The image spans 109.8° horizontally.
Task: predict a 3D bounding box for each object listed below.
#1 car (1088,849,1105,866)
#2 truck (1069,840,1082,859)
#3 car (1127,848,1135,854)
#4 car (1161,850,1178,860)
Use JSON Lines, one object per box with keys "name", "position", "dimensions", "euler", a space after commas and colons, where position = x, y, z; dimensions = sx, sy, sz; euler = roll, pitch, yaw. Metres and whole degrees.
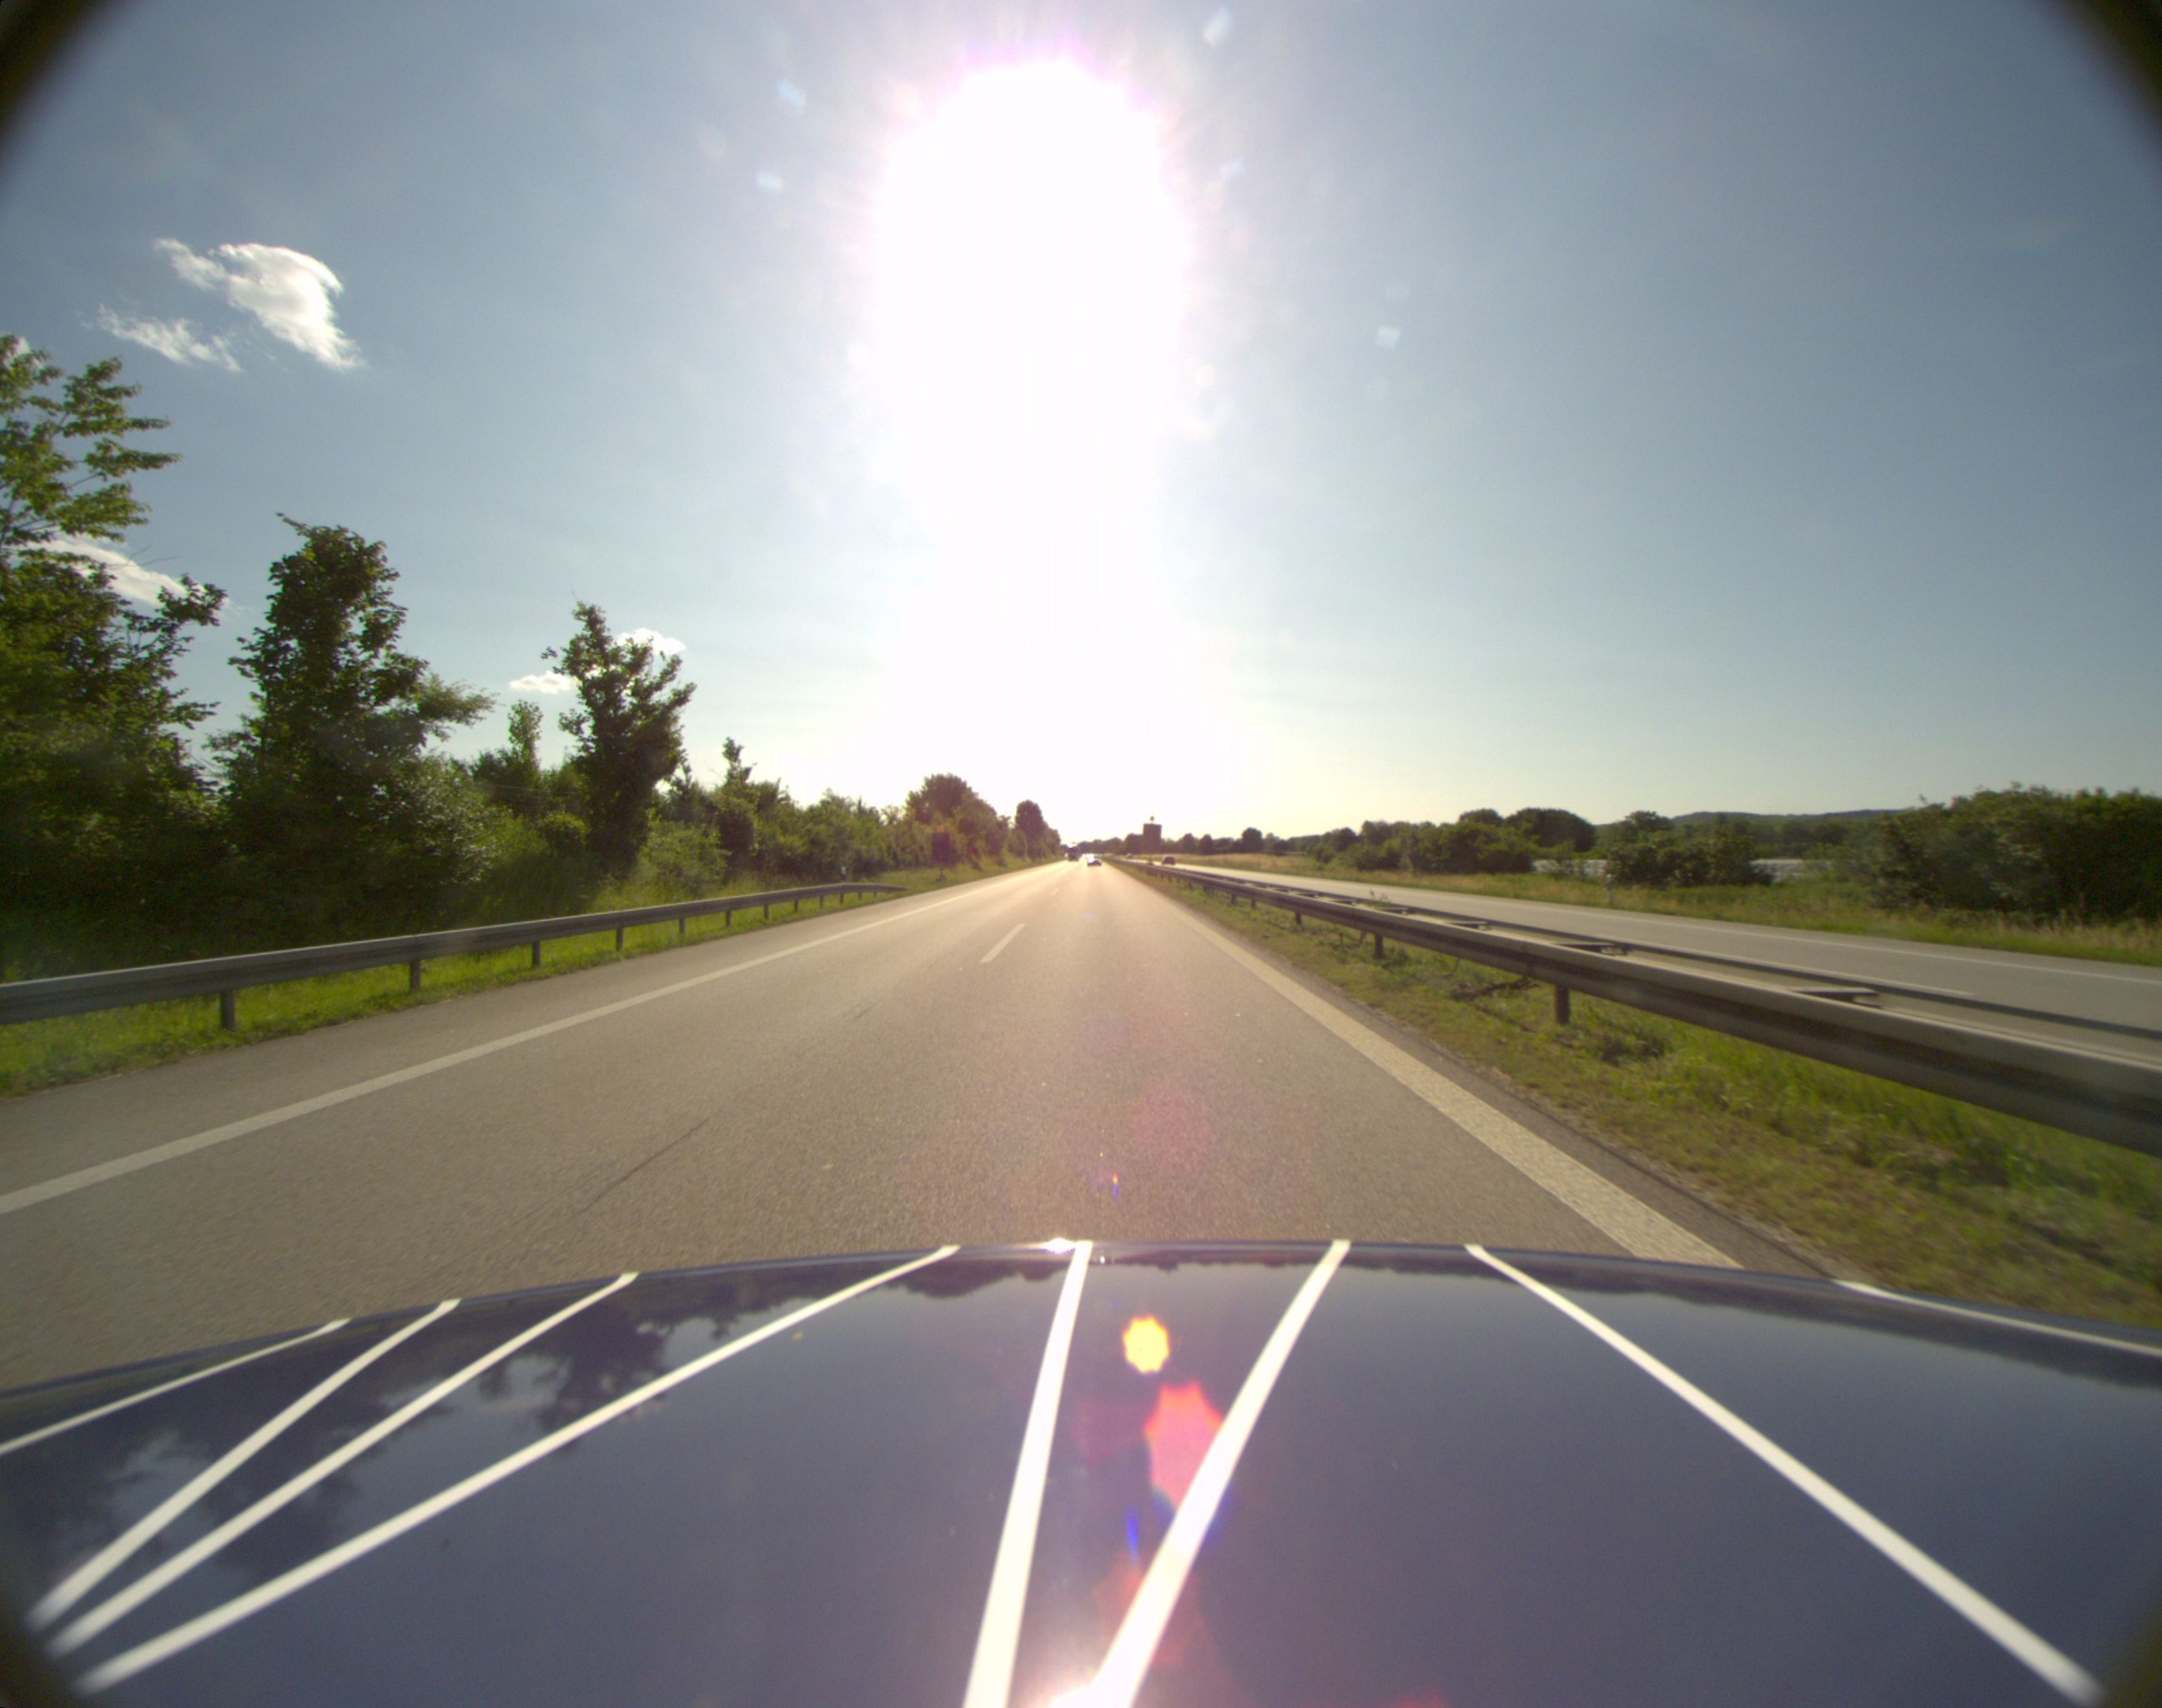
{"name": "car", "position": [1.900, 0.398, 93.645], "dimensions": [1.998, 2.002, 4.358], "euler": [-2, 1, 1]}
{"name": "truck", "position": [-1.161, -1.095, 177.399], "dimensions": [2.759, 4.242, 8.492], "euler": [-2, 1, 1]}
{"name": "car", "position": [14.704, -0.859, 223.348], "dimensions": [1.907, 1.673, 4.731], "euler": [1, 1, 1]}
{"name": "car", "position": [12.760, 0.166, 109.273], "dimensions": [1.837, 1.390, 4.922], "euler": [2, 0, 0]}
